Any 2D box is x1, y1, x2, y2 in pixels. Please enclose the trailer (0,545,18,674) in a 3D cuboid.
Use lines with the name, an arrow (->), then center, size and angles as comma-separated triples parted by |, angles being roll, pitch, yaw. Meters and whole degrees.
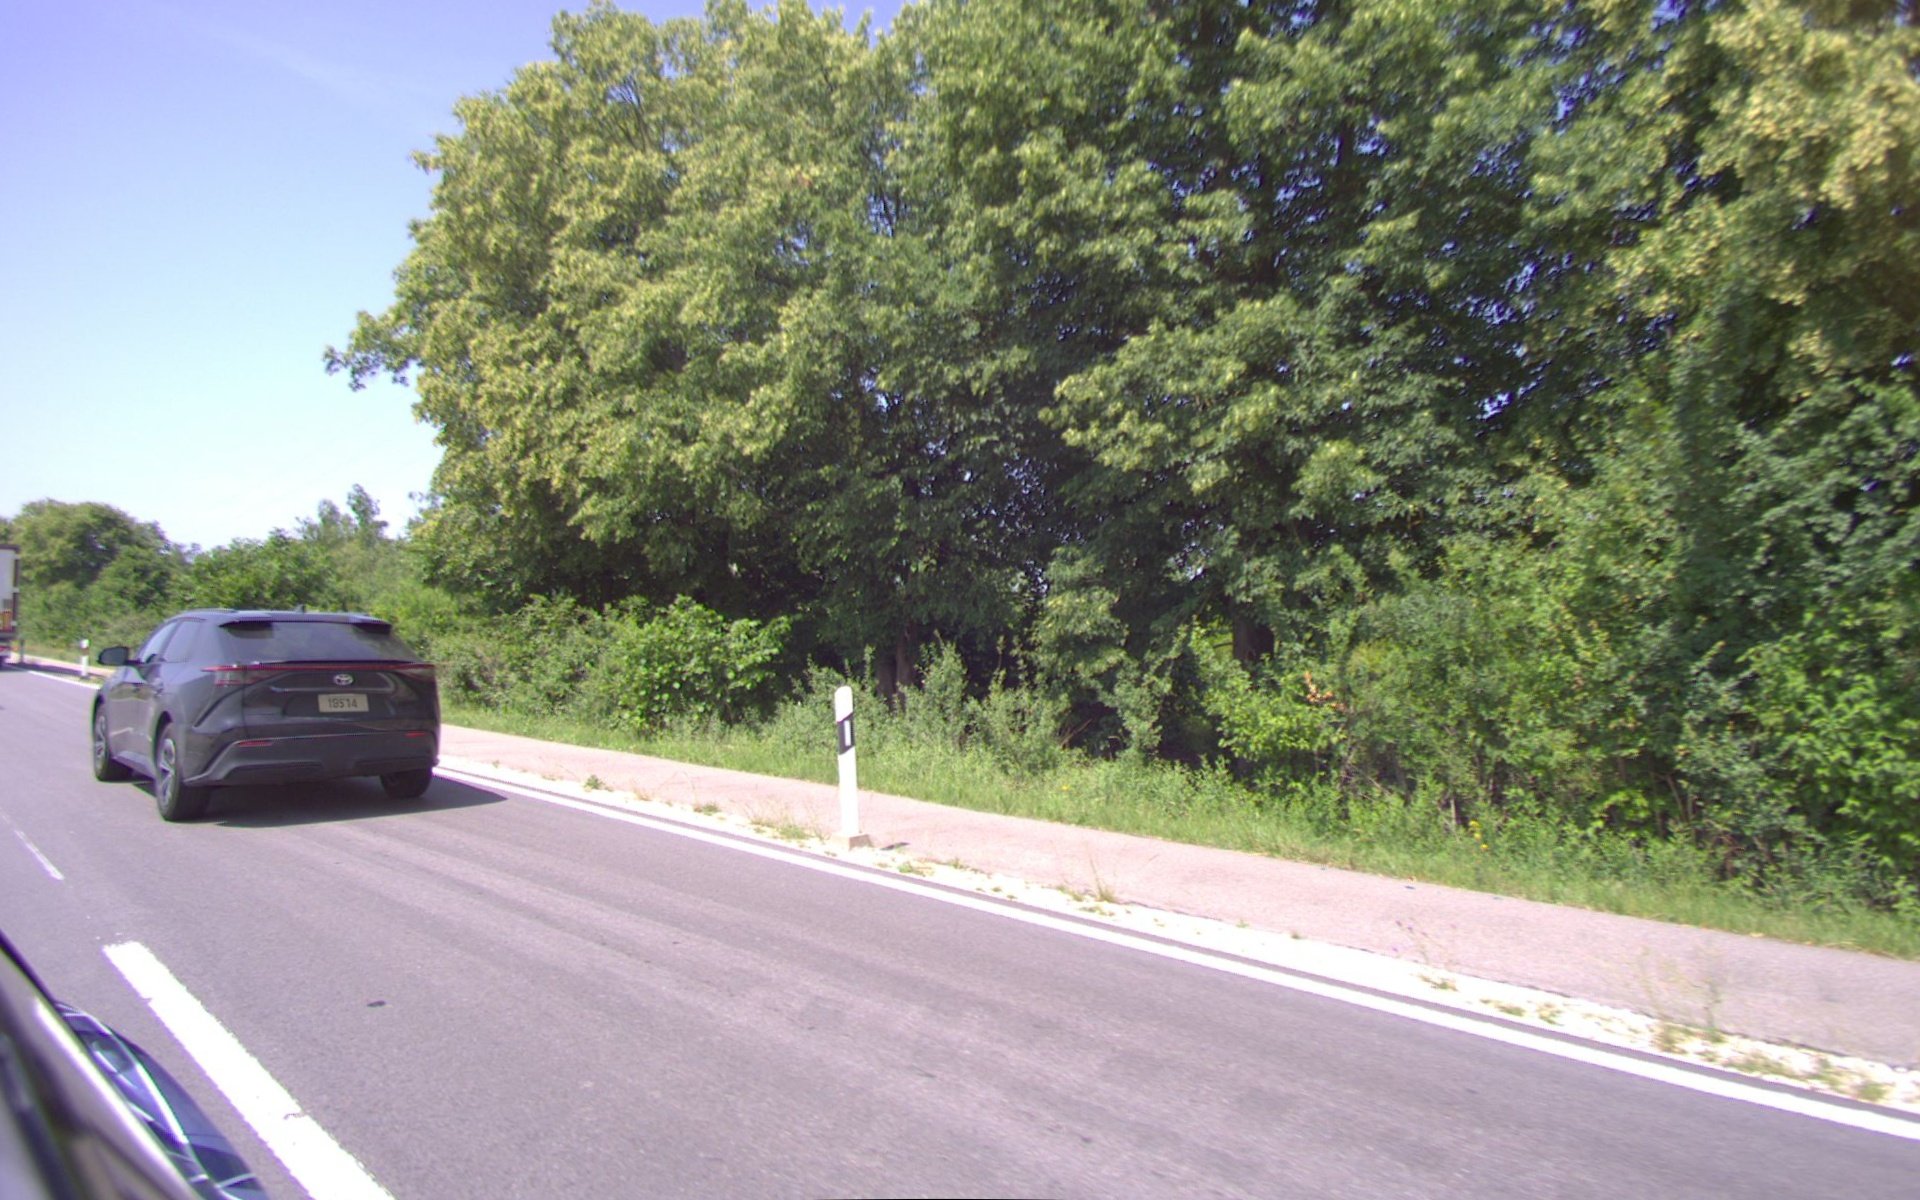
trailer -> -35.552, 0.390, 35.269 | 13.348, 4.008, 2.625 | -2, -3, 42

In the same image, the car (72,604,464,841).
car -> -6.257, 0.892, 8.931 | 4.477, 1.586, 1.773 | -1, -3, 41
